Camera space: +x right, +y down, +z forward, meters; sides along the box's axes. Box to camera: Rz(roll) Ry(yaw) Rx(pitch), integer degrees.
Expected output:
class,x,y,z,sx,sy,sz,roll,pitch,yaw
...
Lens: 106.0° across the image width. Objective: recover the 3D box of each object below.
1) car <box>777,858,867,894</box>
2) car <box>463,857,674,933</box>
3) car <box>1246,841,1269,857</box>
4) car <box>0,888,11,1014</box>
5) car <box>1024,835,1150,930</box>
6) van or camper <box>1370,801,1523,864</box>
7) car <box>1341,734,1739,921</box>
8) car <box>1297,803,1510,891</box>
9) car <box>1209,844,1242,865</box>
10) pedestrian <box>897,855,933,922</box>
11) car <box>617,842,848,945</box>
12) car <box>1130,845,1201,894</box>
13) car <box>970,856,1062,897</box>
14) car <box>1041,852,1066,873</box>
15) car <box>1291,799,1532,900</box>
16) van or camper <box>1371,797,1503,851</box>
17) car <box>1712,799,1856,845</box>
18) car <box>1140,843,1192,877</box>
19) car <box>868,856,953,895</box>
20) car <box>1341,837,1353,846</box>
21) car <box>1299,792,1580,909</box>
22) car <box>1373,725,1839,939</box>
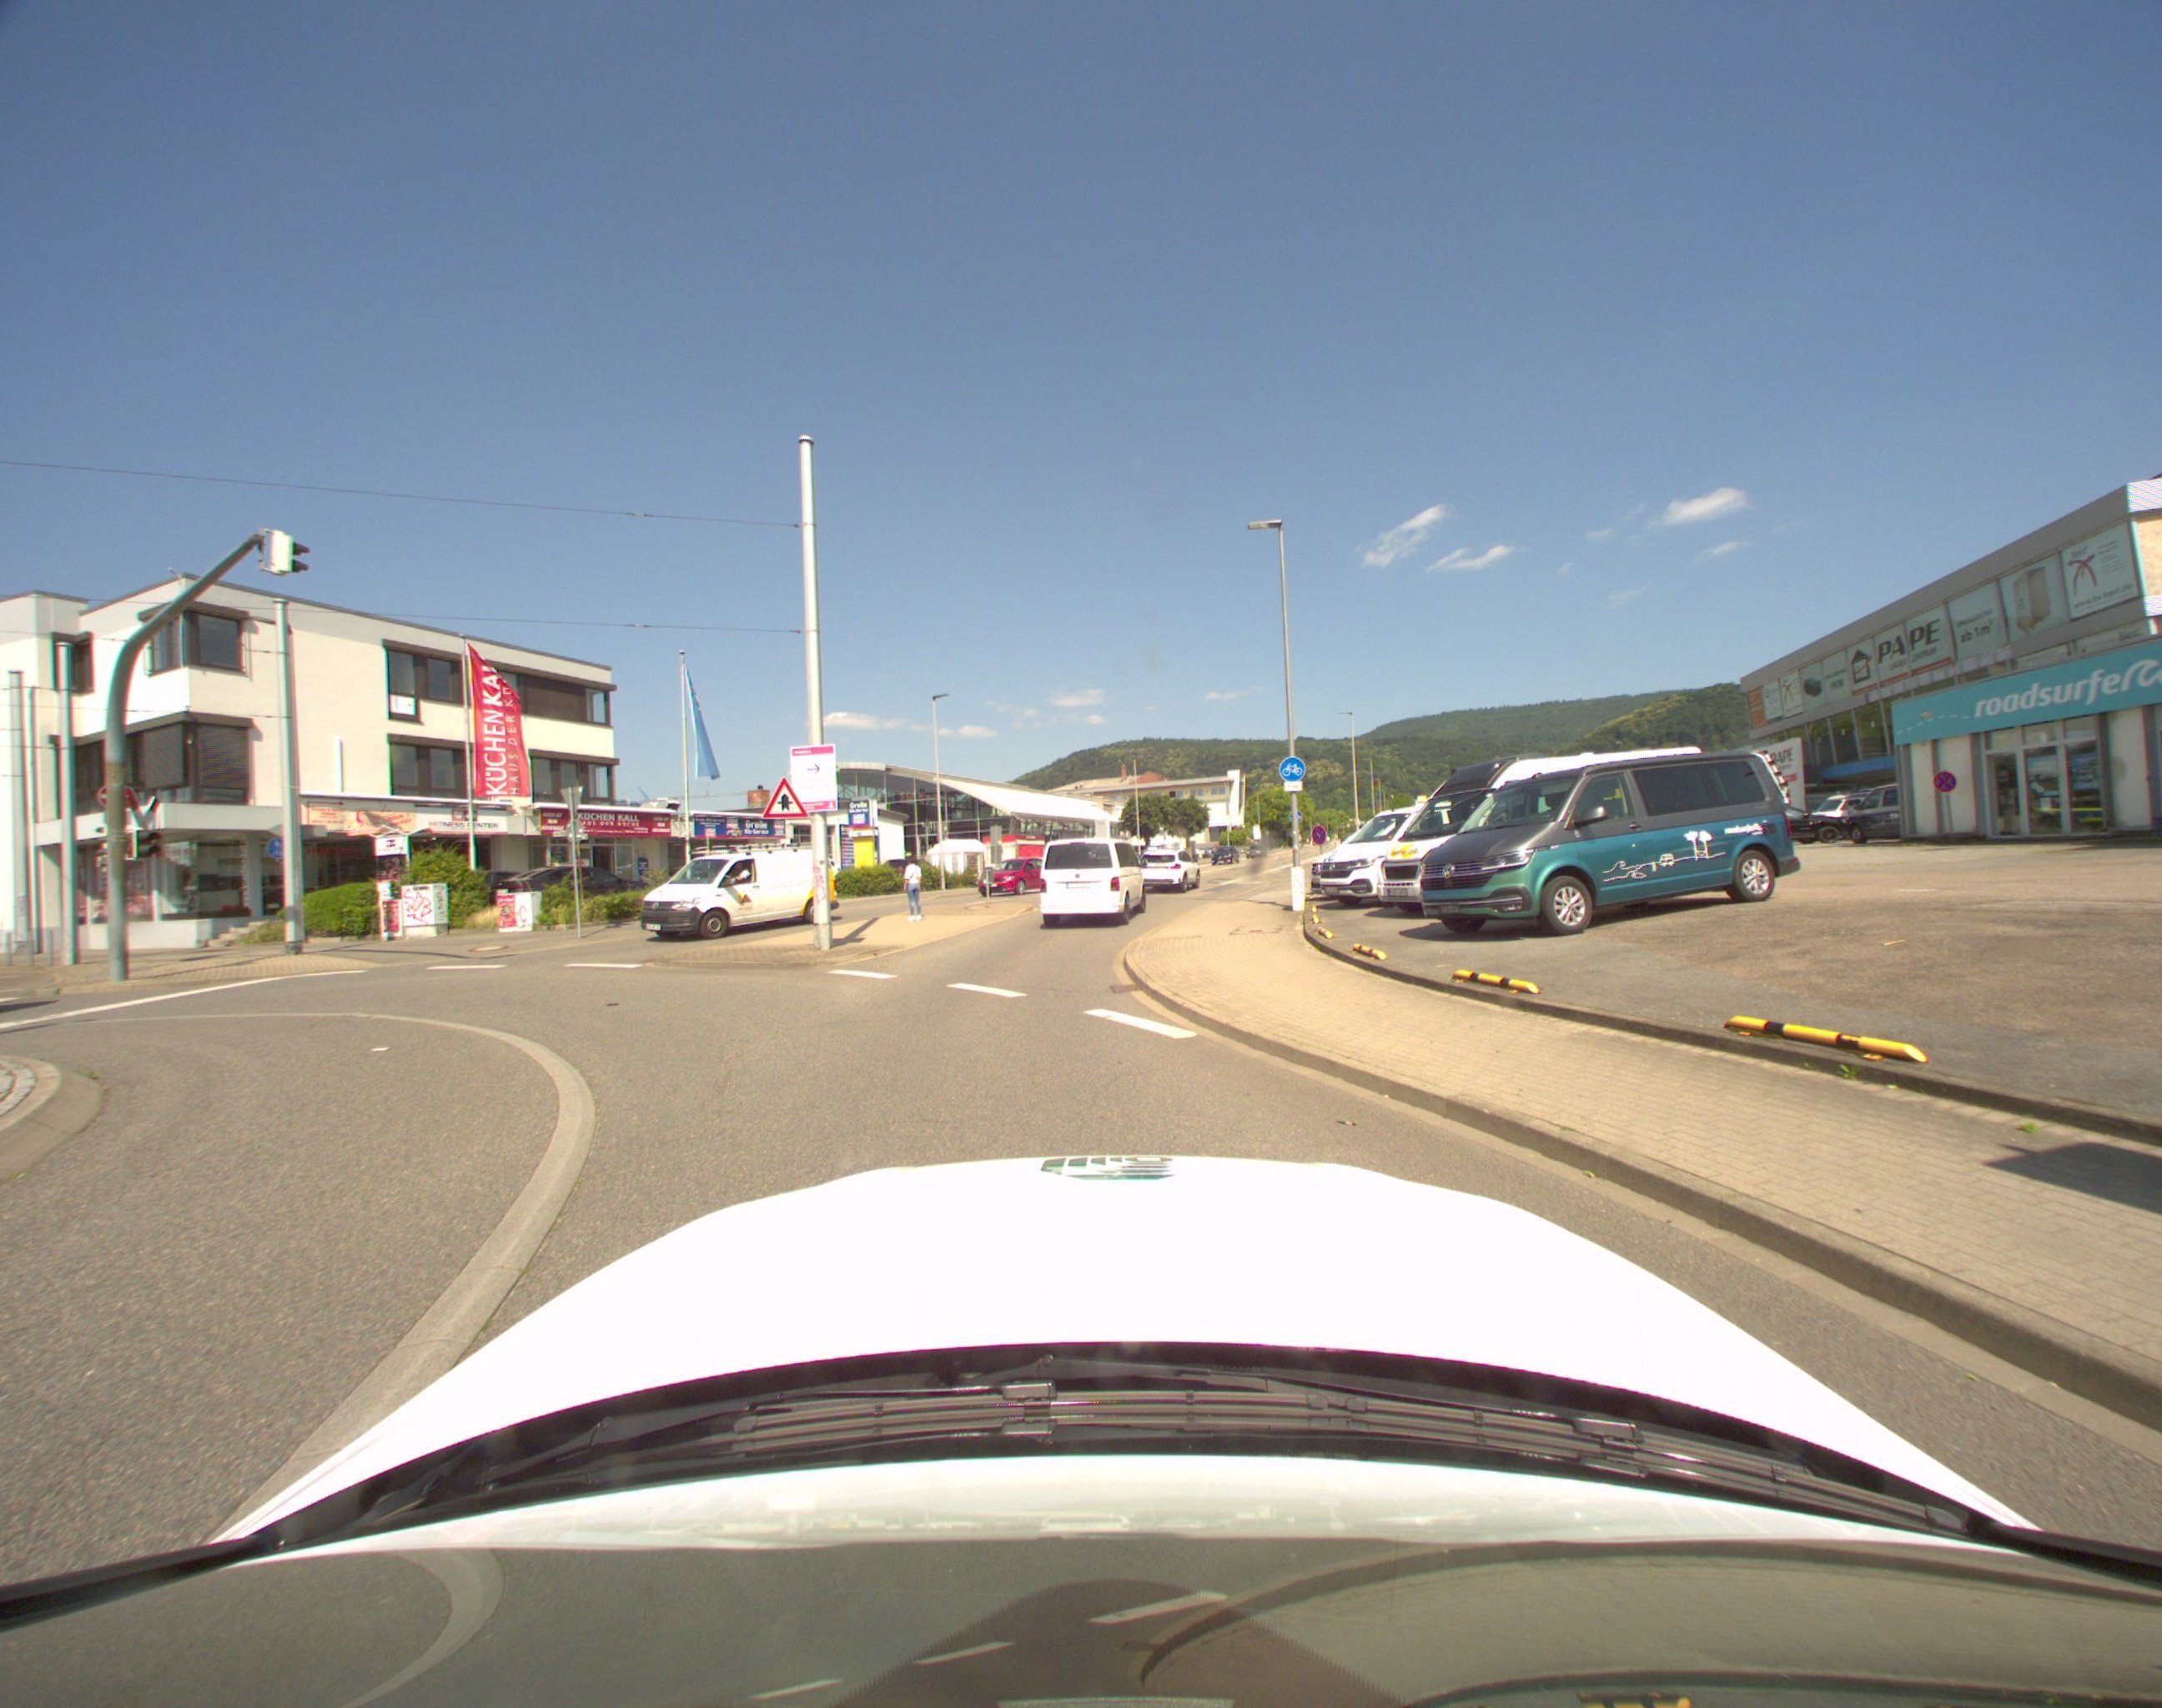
class,x,y,z,sx,sy,sz,roll,pitch,yaw
car,-13.983,1.164,44.248,1.864,1.588,4.954,-5,-1,21
car,-15.812,1.185,25.556,1.941,1.965,5.312,-3,0,25
car,18.619,-0.519,85.840,1.826,1.464,4.021,-3,0,20
car,-18.307,1.573,10.627,4.851,1.935,1.912,-3,0,-37
car,0.320,0.578,19.934,2.148,2.013,5.033,-1,1,11
van or camper,17.671,-1.002,39.701,6.446,2.561,2.991,-3,0,23
car,7.989,-0.505,14.320,6.148,2.717,2.295,-4,0,-15
car,8.970,-0.182,22.849,5.139,2.094,2.043,-3,-2,-9
car,11.717,-0.004,65.703,1.825,1.464,4.021,-3,0,21
pedestrian,-4.282,0.887,21.030,0.762,1.656,0.668,-3,0,-20
car,-8.410,0.861,20.210,2.002,2.114,4.965,-2,1,30
car,3.300,0.545,31.088,1.978,1.707,4.017,-1,1,16
car,-2.499,0.854,32.393,1.825,1.464,4.166,-3,-2,23
car,-2.266,0.650,67.136,1.739,1.585,3.662,-3,0,1
car,8.048,-0.118,20.036,5.131,2.013,1.925,-4,0,-9
van or camper,20.146,-1.658,46.322,6.547,2.561,3.419,-3,0,23
car,28.140,-1.258,32.768,3.952,1.518,1.901,-3,0,22
car,5.077,0.296,48.190,1.892,1.760,4.474,-3,0,20
car,-8.252,1.015,39.854,1.975,1.618,4.023,-3,0,25
car,43.737,-2.064,133.852,1.704,1.303,4.021,-4,0,21
car,7.469,-0.081,17.139,5.148,2.000,2.016,-4,-1,-13
car,6.796,-0.311,10.664,5.223,2.113,2.085,-6,-1,-17
